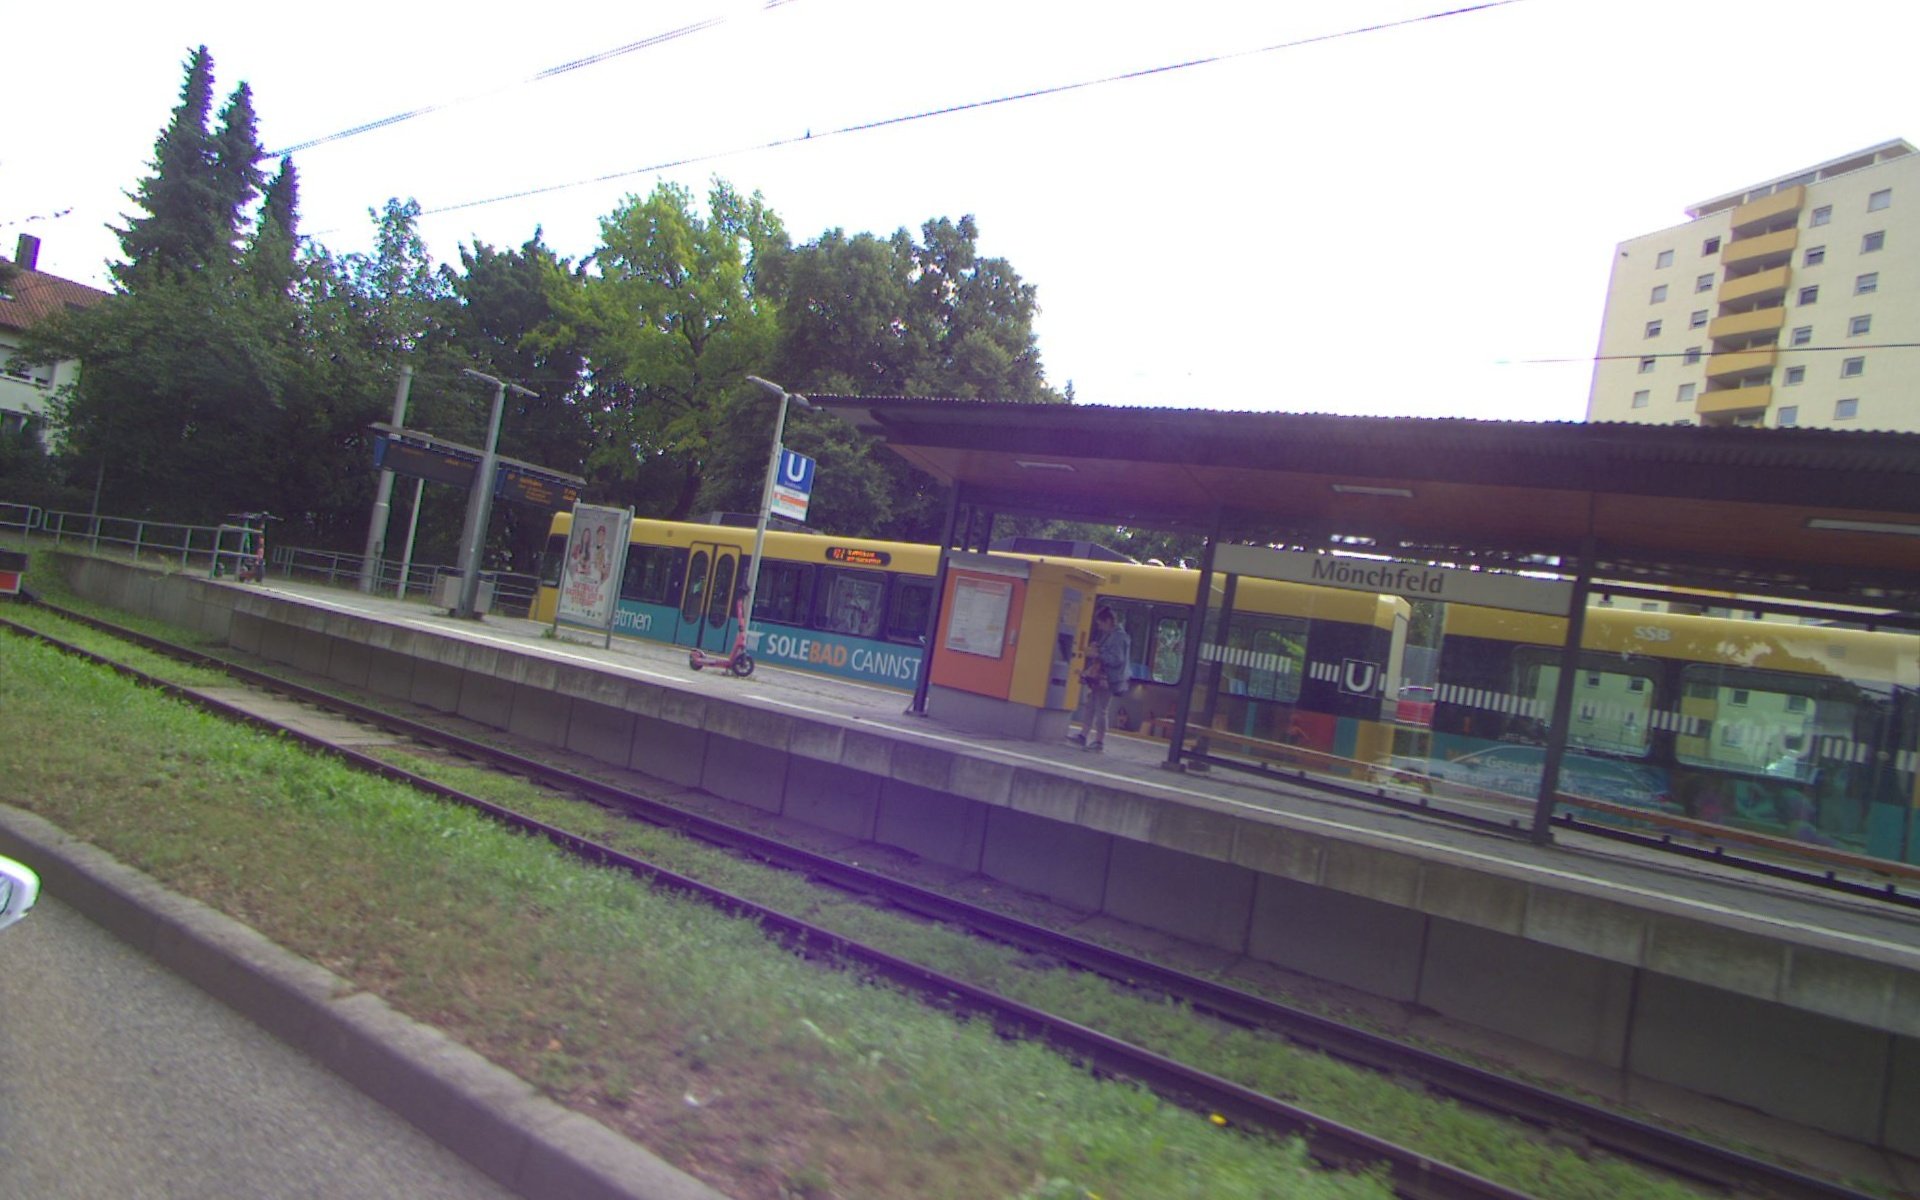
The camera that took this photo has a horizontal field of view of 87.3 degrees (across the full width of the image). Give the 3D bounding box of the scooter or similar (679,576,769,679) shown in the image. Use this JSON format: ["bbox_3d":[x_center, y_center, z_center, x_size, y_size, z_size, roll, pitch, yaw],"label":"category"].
[{"bbox_3d":[-3.270,0.374,13.905,1.127,1.256,0.369,8,-1,33],"label":"scooter or similar"}]

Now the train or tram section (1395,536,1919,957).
[{"bbox_3d":[14.272,2.318,8.205,19.202,3.776,2.820,8,-3,35],"label":"train or tram section"}]

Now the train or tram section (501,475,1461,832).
[{"bbox_3d":[-1.562,0.188,18.916,19.197,3.627,2.820,8,-3,34],"label":"train or tram section"}]

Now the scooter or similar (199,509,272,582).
[{"bbox_3d":[-14.023,-1.053,19.472,1.231,1.268,0.431,6,-1,21],"label":"scooter or similar"}]

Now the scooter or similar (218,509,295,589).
[{"bbox_3d":[-12.410,-0.904,17.741,1.232,1.268,0.431,6,-1,25],"label":"scooter or similar"}]

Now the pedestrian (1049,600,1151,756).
[{"bbox_3d":[1.532,0.851,11.028,0.620,1.590,0.658,9,-2,-39],"label":"pedestrian"}]
